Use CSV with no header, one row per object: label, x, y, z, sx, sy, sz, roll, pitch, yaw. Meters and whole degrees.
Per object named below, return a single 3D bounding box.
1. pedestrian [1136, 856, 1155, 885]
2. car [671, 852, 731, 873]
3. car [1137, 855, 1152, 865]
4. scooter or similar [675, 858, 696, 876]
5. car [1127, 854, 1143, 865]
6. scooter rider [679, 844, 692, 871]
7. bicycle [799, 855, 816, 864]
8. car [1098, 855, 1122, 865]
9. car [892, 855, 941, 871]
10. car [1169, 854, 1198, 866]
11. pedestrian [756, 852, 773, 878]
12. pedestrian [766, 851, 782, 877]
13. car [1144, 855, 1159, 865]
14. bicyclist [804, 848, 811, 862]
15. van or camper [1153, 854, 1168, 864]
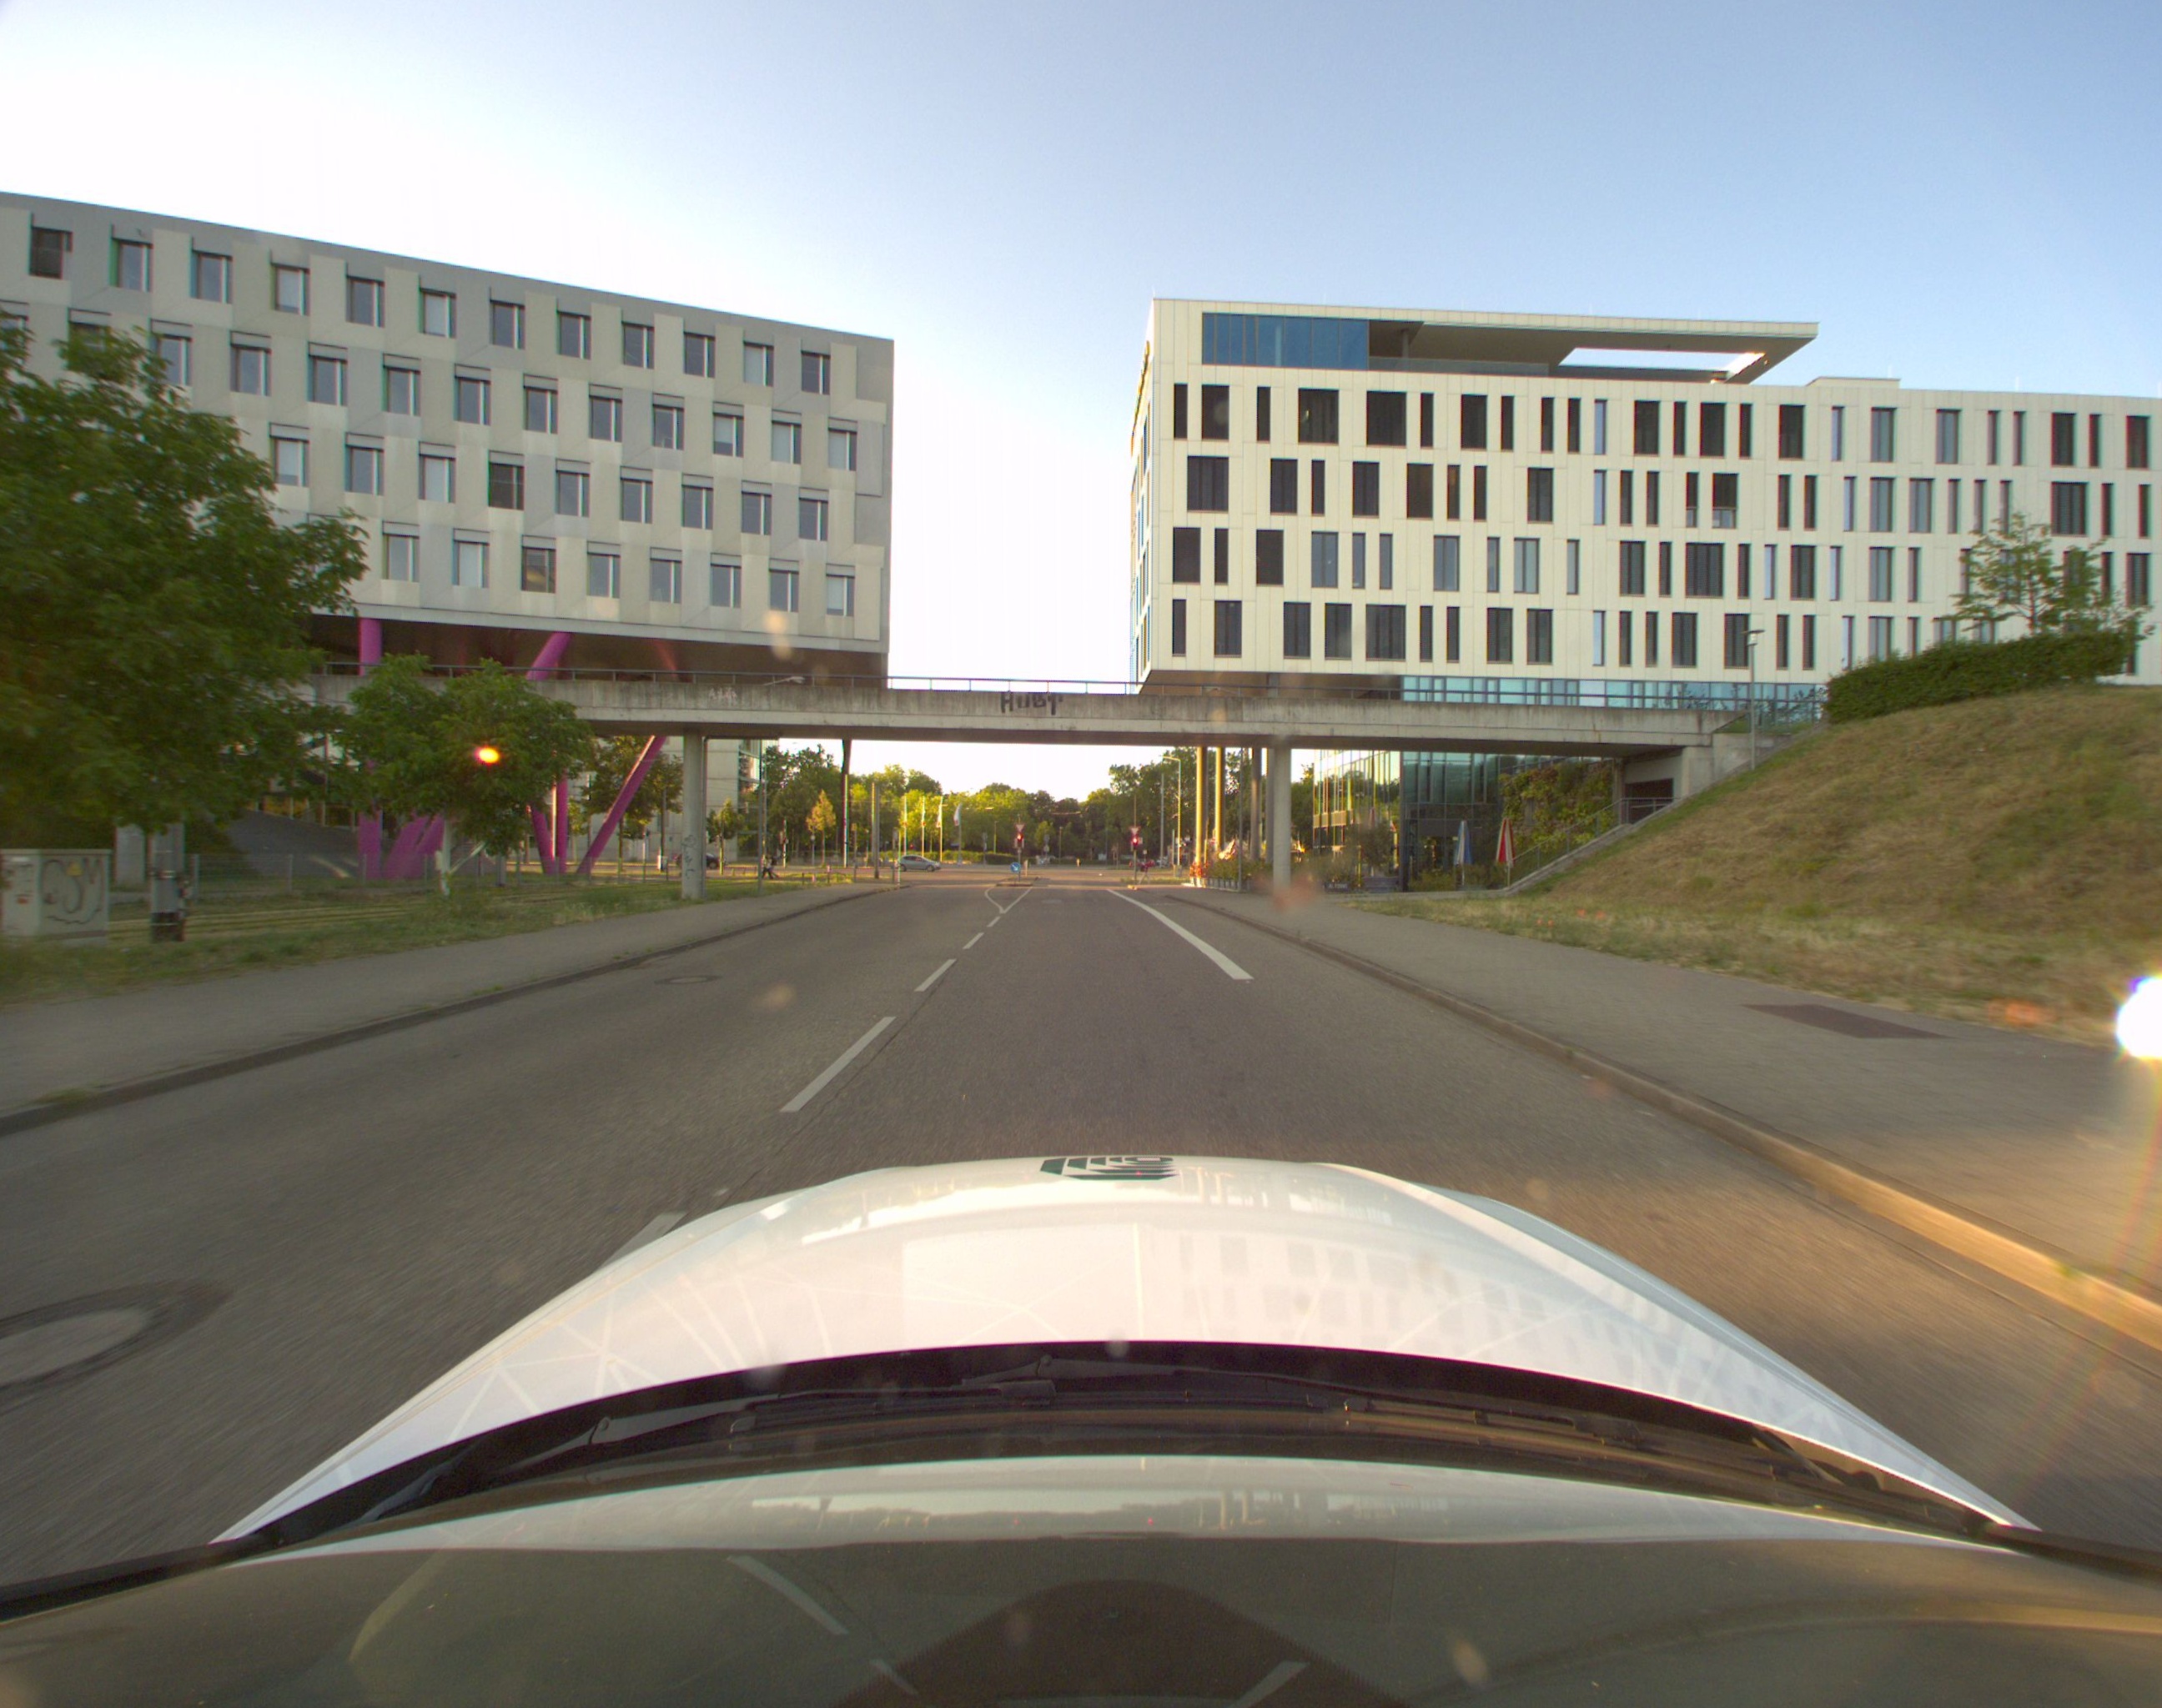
pedestrian,4.234,1.084,53.507,1.055,1.834,0.891,0,1,-14
car,-34.114,0.777,73.147,4.456,1.816,1.943,0,1,-3
car,10.912,1.036,140.527,1.483,1.606,3.423,1,1,25
scooter or similar,-26.956,0.878,55.490,1.211,1.200,0.502,0,1,-5
car,9.092,0.902,136.354,1.483,1.760,3.423,1,1,25
scooter rider,-26.937,0.236,55.478,0.704,1.782,0.442,0,1,-5
bicycle,-35.056,0.704,104.297,1.973,1.128,0.555,0,1,-27
car,5.924,1.228,163.389,4.661,1.869,2.016,0,1,5
car,-14.435,0.777,71.651,4.014,1.419,1.601,0,1,-4
car,16.376,0.980,129.939,4.446,1.816,1.948,0,1,4
pedestrian,-20.290,0.677,52.223,0.681,1.624,0.715,0,1,16
pedestrian,-20.014,0.668,53.048,0.695,1.664,0.715,0,1,16
car,12.521,1.051,144.296,1.483,1.606,3.423,1,1,25
bicyclist,-35.068,0.117,104.286,0.761,1.723,0.547,0,1,-26
van or camper,16.843,0.984,172.205,1.609,1.982,3.830,1,1,29
